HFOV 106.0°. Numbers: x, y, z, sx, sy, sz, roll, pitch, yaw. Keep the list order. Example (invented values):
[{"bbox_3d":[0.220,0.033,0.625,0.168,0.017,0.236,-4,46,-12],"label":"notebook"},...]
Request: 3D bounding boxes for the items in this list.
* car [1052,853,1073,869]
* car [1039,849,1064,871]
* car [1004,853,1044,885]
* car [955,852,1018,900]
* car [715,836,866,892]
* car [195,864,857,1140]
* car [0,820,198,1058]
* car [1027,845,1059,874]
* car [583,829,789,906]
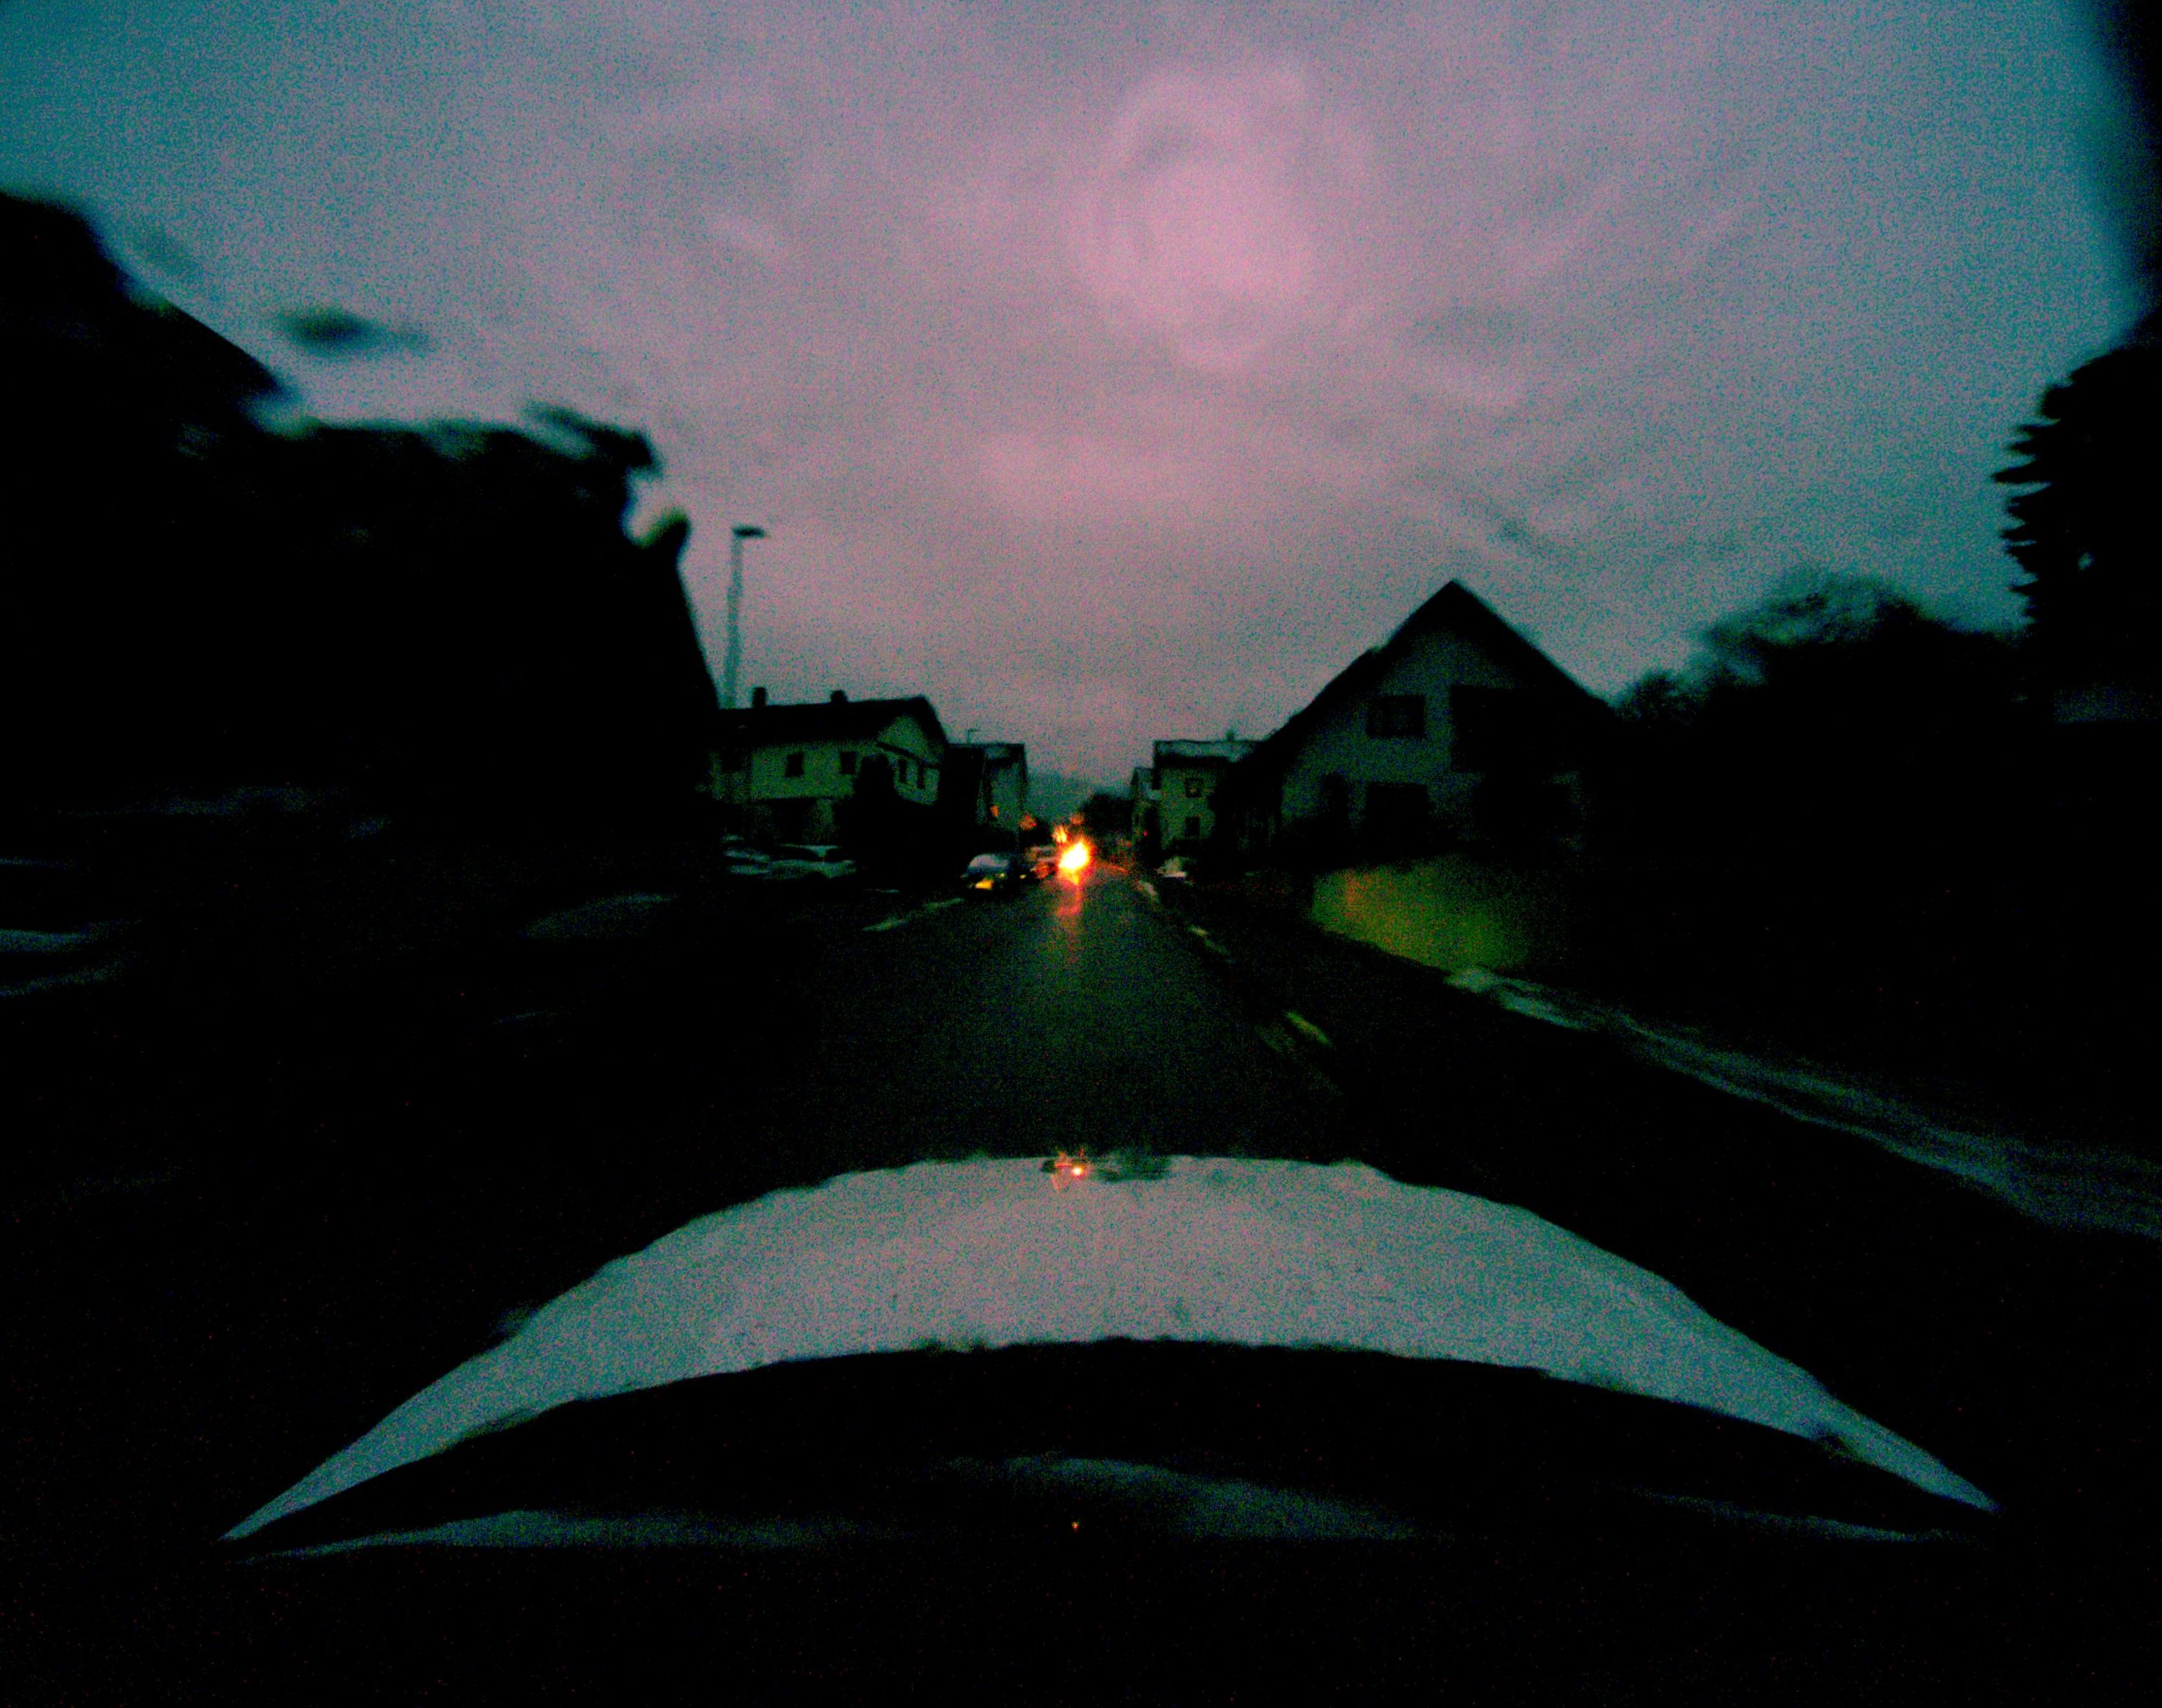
[{"bbox_3d":[-1.967,0.738,87.497,1.986,1.650,4.001,0,-2,1],"label":"car"},{"bbox_3d":[-2.451,0.489,69.183,1.988,1.800,3.998,-2,0,-1],"label":"car"},{"bbox_3d":[-2.839,0.708,41.495,1.789,1.503,4.306,-1,0,-2],"label":"car"},{"bbox_3d":[-3.346,0.767,29.596,1.677,1.584,4.177,-1,-1,2],"label":"car"},{"bbox_3d":[-8.974,0.296,25.394,3.968,1.618,1.891,1,0,5],"label":"car"},{"bbox_3d":[-3.577,0.800,6.747,1.870,1.394,5.076,-1,-1,2],"label":"car"},{"bbox_3d":[-8.627,0.532,5.538,3.447,1.528,1.776,1,0,5],"label":"car"},{"bbox_3d":[-2.507,0.355,54.860,1.819,1.835,4.346,-1,0,1],"label":"car"},{"bbox_3d":[-9.470,0.310,19.753,3.968,1.746,2.003,1,0,5],"label":"car"}]
